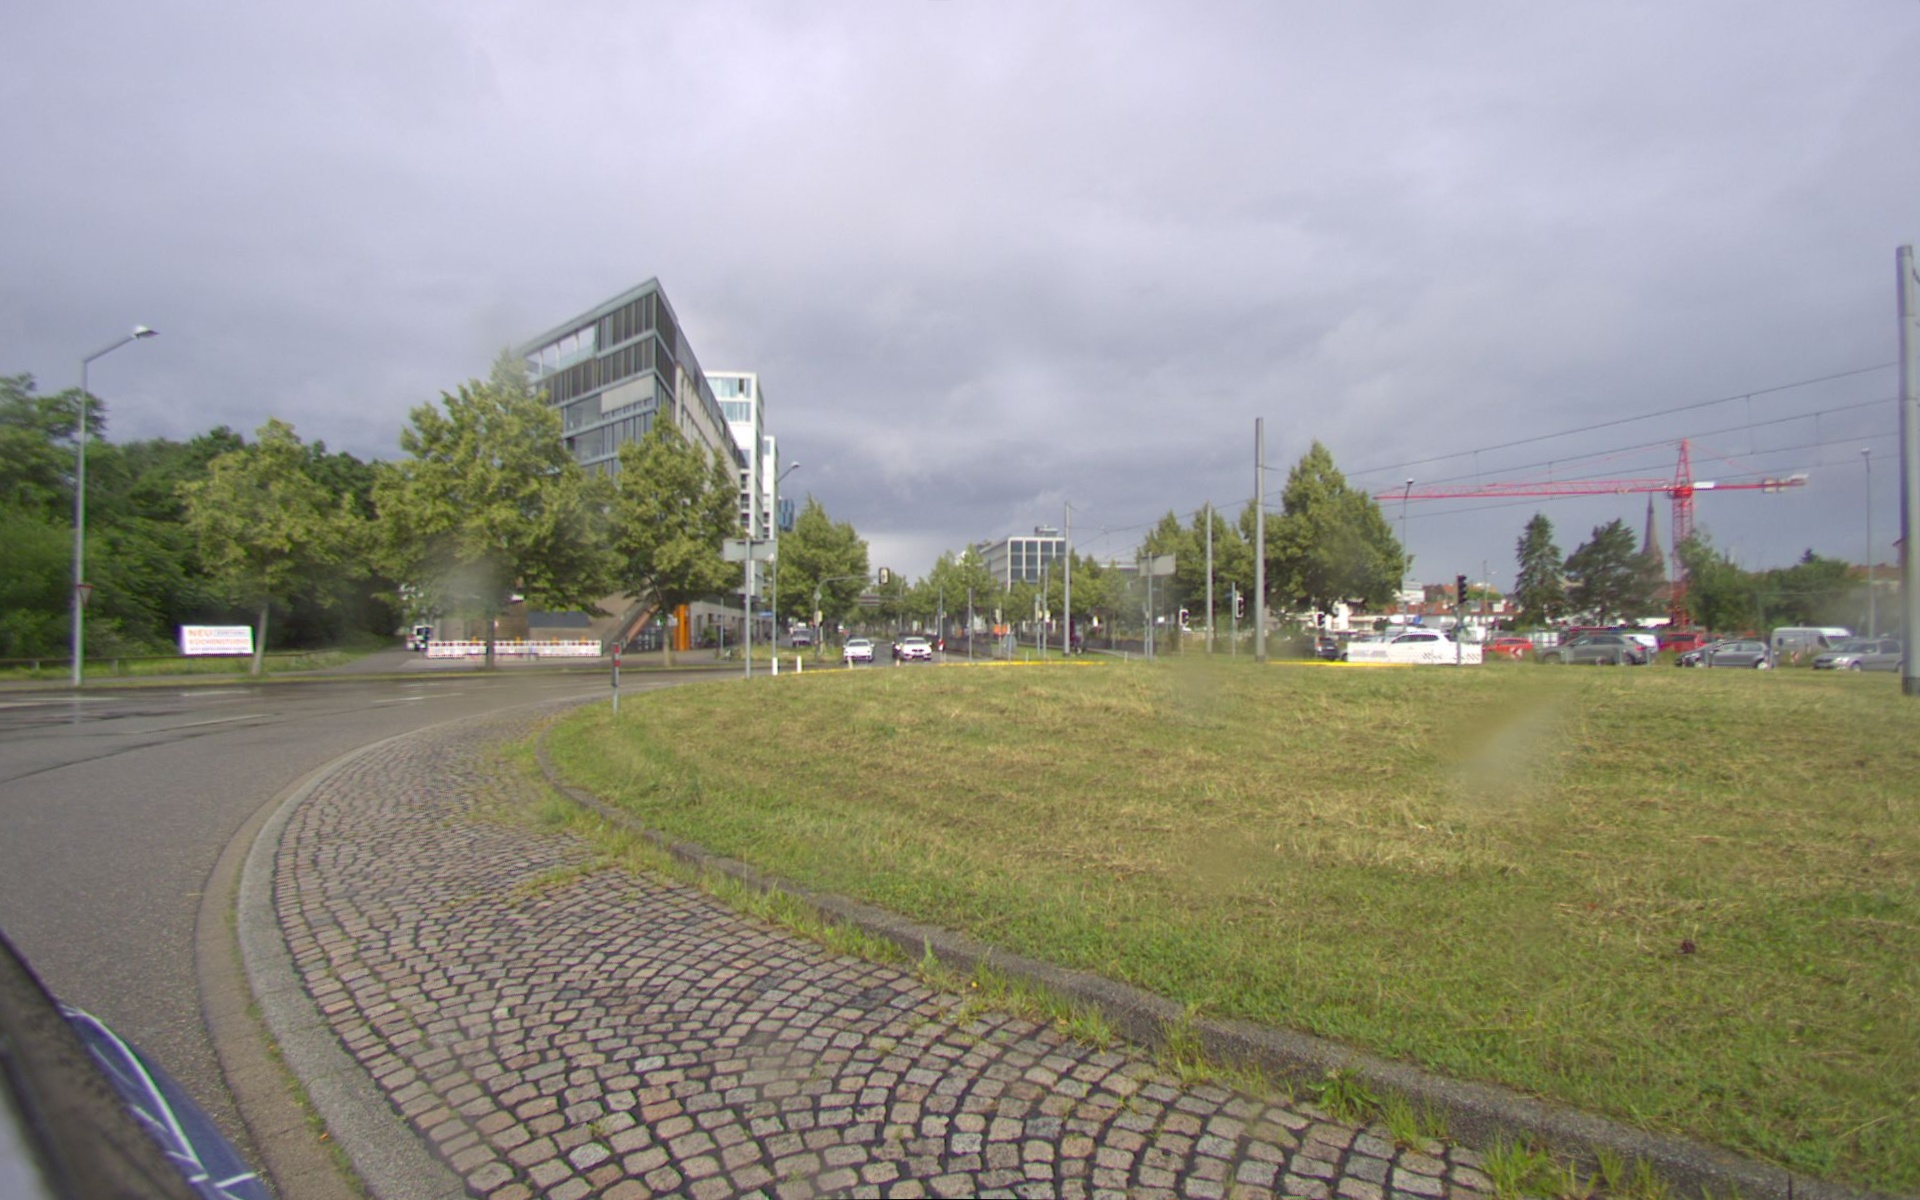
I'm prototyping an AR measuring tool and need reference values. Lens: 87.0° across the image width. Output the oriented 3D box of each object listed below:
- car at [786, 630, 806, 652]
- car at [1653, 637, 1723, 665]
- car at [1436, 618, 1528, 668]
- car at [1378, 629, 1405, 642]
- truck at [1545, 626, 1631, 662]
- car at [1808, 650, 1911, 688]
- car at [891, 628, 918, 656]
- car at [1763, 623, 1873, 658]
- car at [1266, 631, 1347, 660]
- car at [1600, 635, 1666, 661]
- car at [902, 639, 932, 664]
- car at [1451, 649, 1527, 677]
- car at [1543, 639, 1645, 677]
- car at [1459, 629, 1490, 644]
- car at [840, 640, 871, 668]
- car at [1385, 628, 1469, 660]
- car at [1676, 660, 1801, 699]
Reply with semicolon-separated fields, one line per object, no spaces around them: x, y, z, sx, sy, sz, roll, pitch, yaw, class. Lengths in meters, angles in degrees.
-18.127;4.552;112.014;1.838;2.378;4.476;0;-3;-6;car
51.571;3.608;71.795;1.901;1.713;4.003;1;0;-3;car
27.855;2.245;54.078;4.000;2.587;1.772;-2;-2;43;car
54.207;4.438;127.287;1.526;1.572;3.505;0;-2;-7;car
44.299;3.062;71.557;2.365;2.228;6.098;1;0;2;truck
39.087;2.993;43.988;3.442;1.572;1.554;0;-2;-11;car
-4.199;3.124;76.044;1.970;2.029;4.002;0;-2;-3;car
58.593;2.734;69.289;2.013;2.101;6.269;1;0;-2;car
19.259;2.503;56.378;1.772;1.529;4.011;1;-2;-31;car
49.385;3.506;74.340;1.828;1.713;4.007;1;0;-7;car
-2.749;3.230;63.945;1.700;1.519;3.909;0;-2;-6;car
34.750;4.124;66.478;1.970;1.697;4.003;1;-2;-44;car
28.199;2.550;45.025;3.674;1.572;1.553;-1;-2;39;car
62.835;4.461;123.725;1.476;1.736;3.607;0;-2;-9;car
-6.617;3.442;63.863;1.838;1.685;4.476;0;-3;-7;car
23.145;2.168;50.231;1.475;1.522;3.508;1;-2;-37;car
34.521;3.494;44.988;3.970;1.597;1.786;-1;-2;20;car
